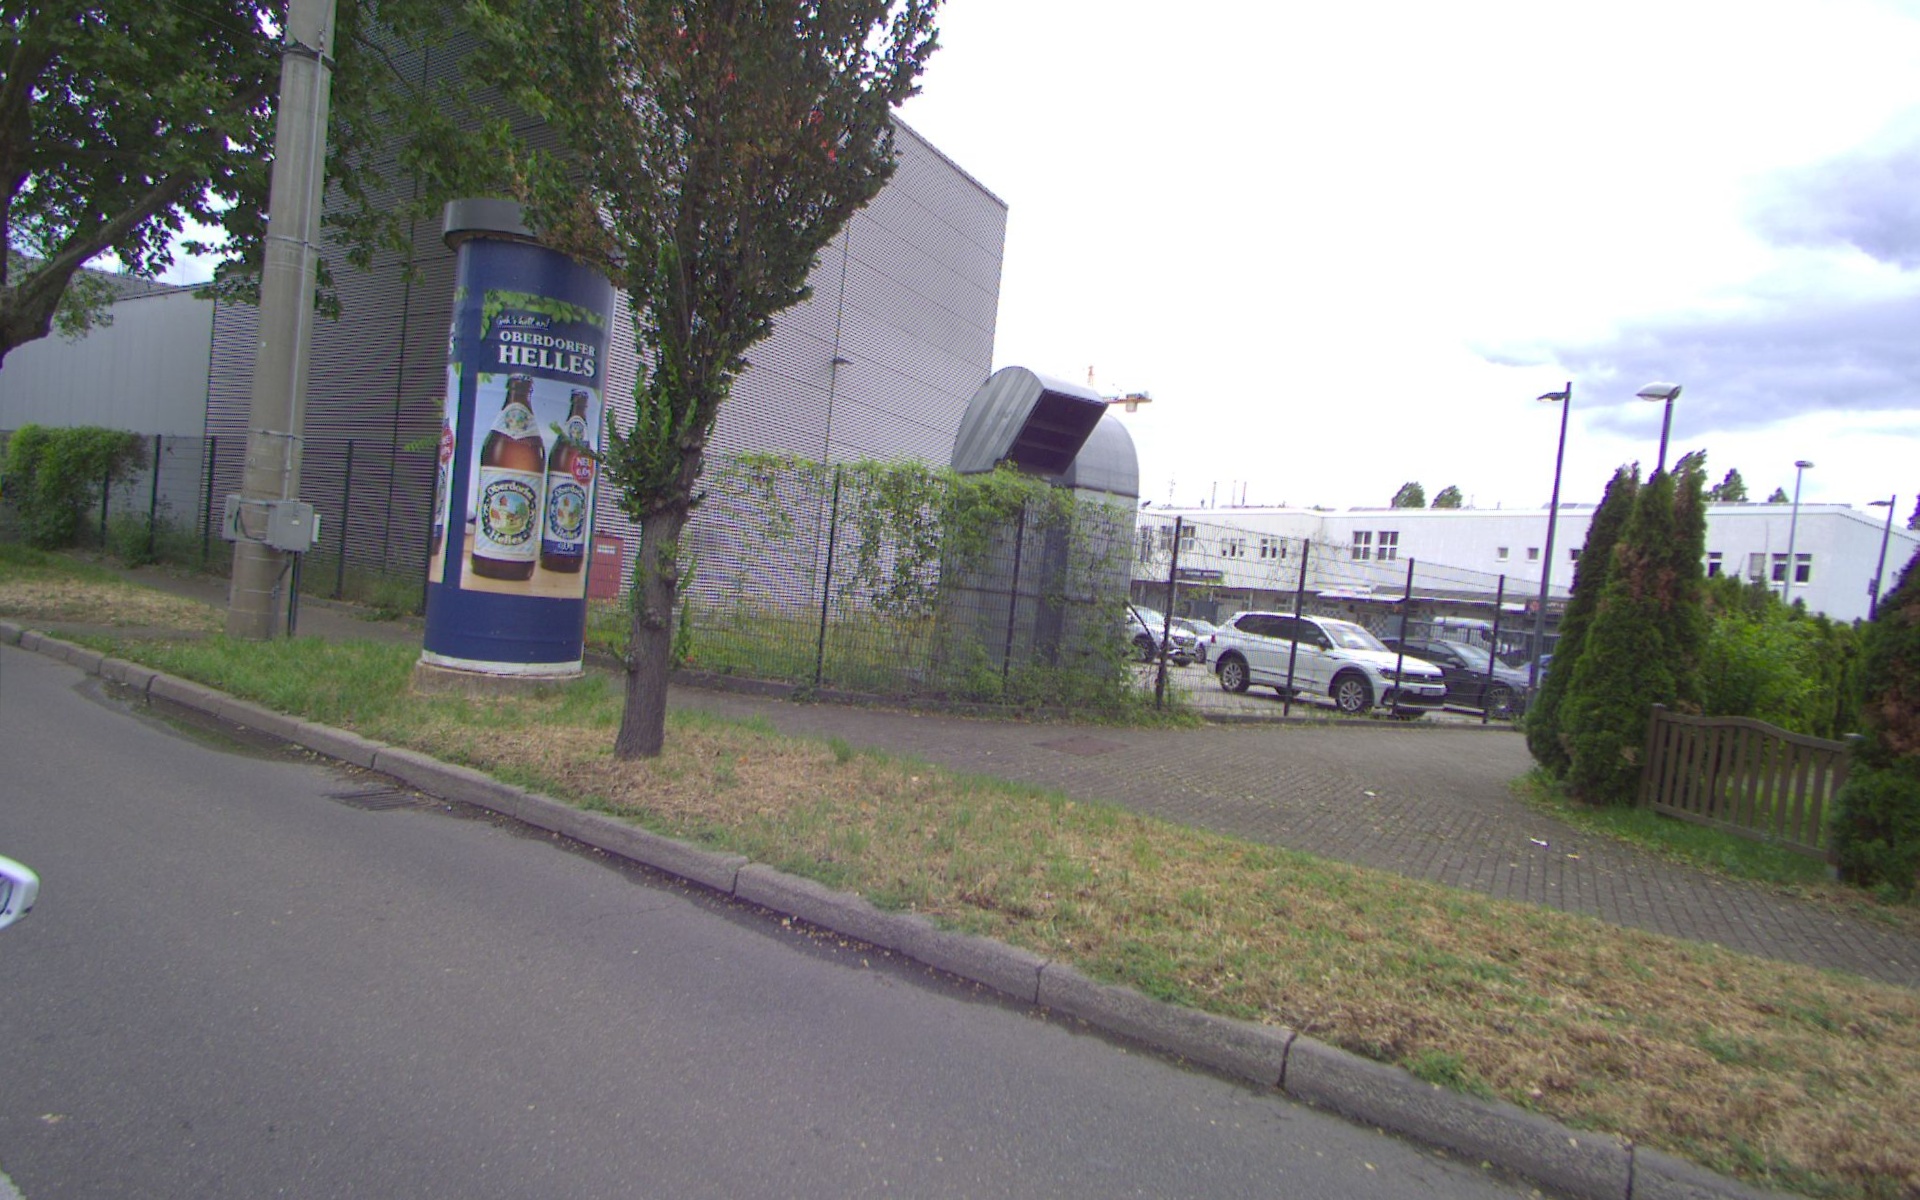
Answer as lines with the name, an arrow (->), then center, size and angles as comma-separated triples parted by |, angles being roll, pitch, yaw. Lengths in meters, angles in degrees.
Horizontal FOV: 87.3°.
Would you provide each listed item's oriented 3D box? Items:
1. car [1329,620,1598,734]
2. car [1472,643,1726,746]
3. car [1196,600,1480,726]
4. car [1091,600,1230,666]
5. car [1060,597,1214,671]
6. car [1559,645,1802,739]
car -> 10.393, 1.543, 21.167 | 1.978, 1.696, 4.599 | 6, 1, -31
car -> 15.039, 2.179, 23.979 | 1.978, 1.696, 4.599 | 6, 1, -31
car -> 6.850, 1.079, 18.780 | 1.978, 1.696, 4.599 | 6, 1, -31
car -> 6.788, 1.093, 34.560 | 1.978, 1.696, 4.599 | 6, 1, -31
car -> 5.304, 0.991, 30.748 | 1.978, 1.696, 4.599 | 6, 1, -31
car -> 18.528, 2.332, 26.108 | 1.978, 1.696, 4.599 | 6, 1, -31
